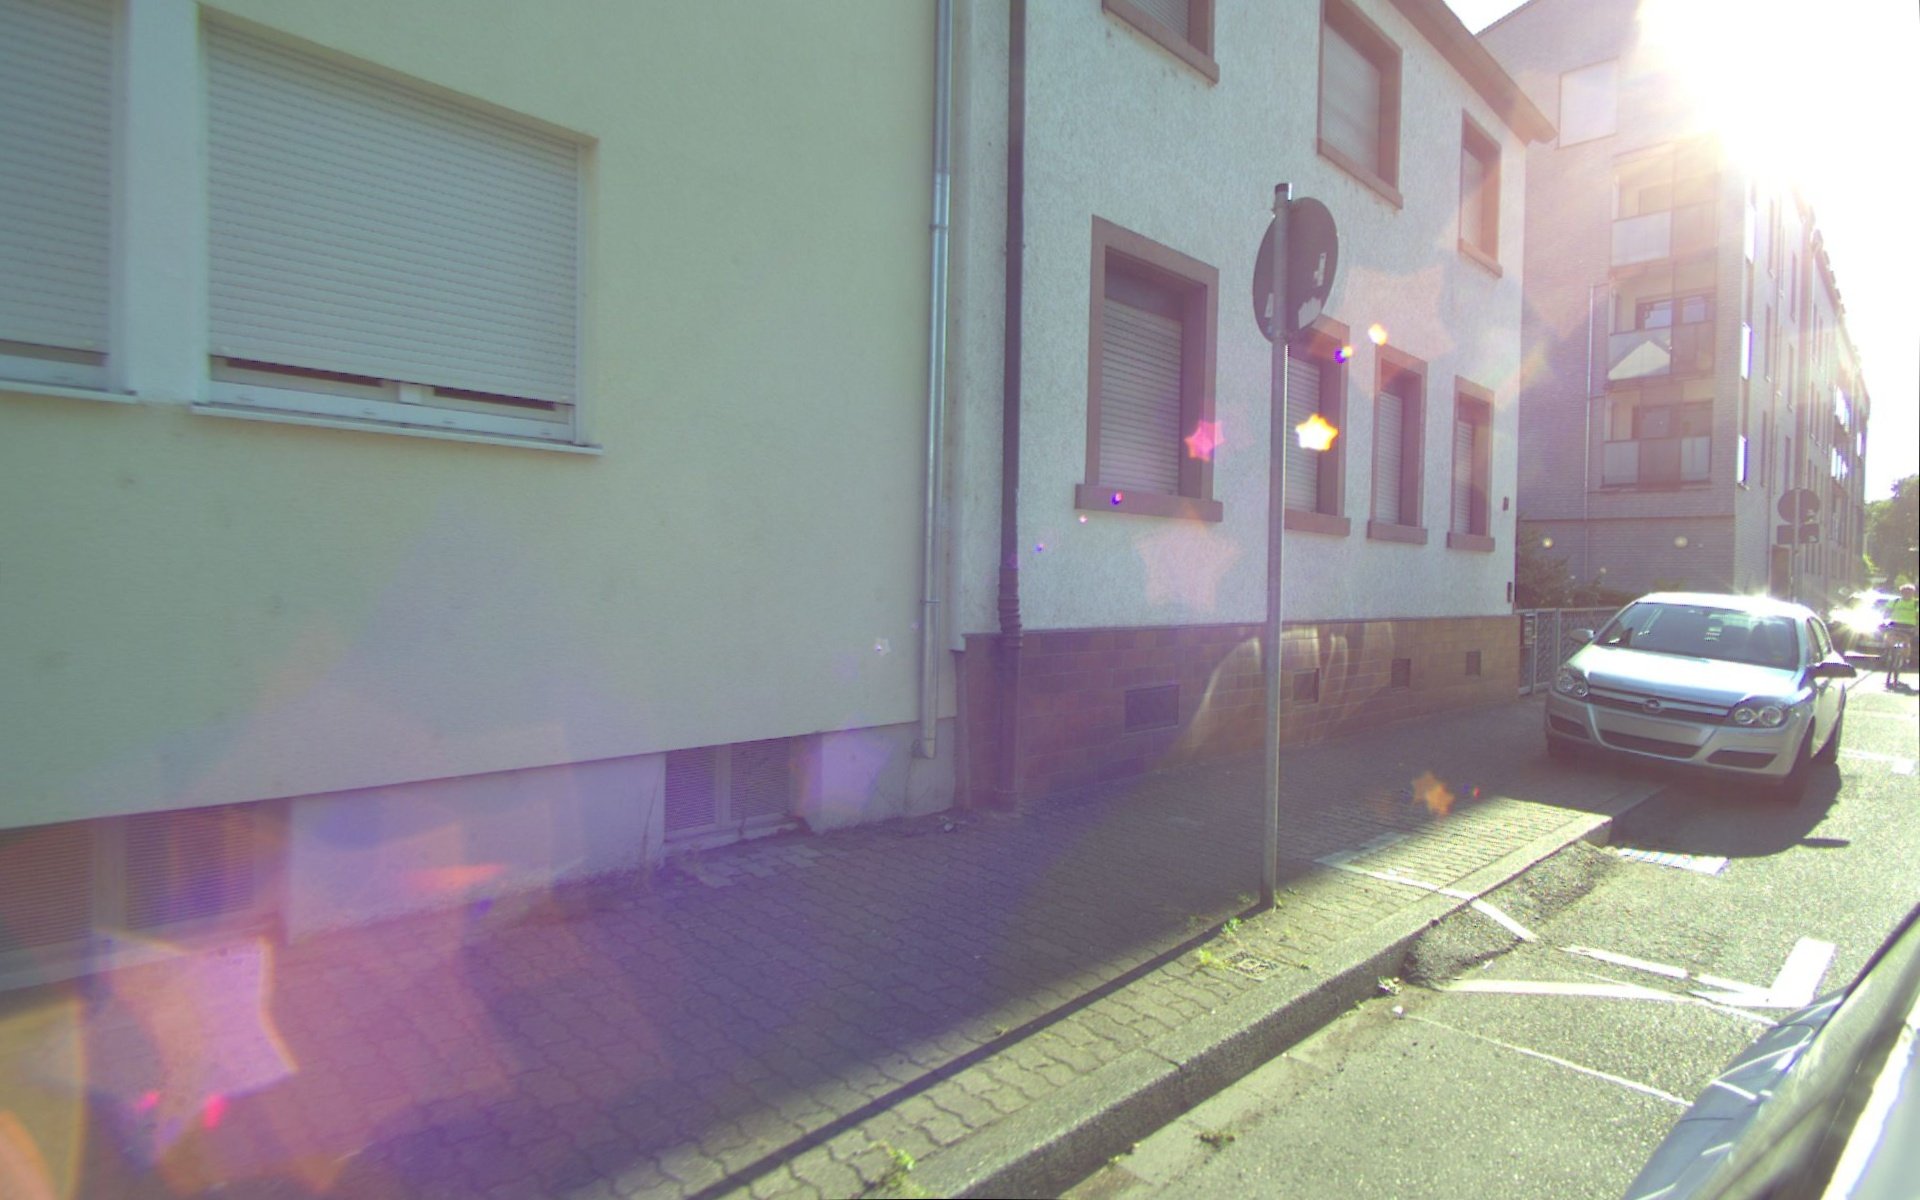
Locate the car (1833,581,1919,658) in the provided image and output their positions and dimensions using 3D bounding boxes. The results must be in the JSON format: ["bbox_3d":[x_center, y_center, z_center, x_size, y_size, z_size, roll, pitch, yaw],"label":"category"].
[{"bbox_3d":[23.077,0.453,24.986,4.547,1.656,1.857,0,4,-45],"label":"car"}]

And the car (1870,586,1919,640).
[{"bbox_3d":[31.984,0.433,34.045,1.993,1.673,4.689,3,1,42],"label":"car"}]

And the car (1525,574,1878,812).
[{"bbox_3d":[6.652,0.593,8.876,4.366,1.510,1.743,0,4,-44],"label":"car"}]

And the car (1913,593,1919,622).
[{"bbox_3d":[50.713,0.399,52.440,1.816,1.484,4.204,3,2,42],"label":"car"}]

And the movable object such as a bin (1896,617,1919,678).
[{"bbox_3d":[18.280,0.893,19.397,0.454,1.046,1.812,-2,0,42],"label":"movable object such as a bin"}]

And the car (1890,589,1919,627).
[{"bbox_3d":[46.251,0.404,48.572,4.691,1.733,1.893,1,1,-42],"label":"car"}]

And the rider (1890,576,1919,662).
[{"bbox_3d":[18.153,0.341,19.237,0.653,1.581,1.067,-2,0,43],"label":"rider"}]
